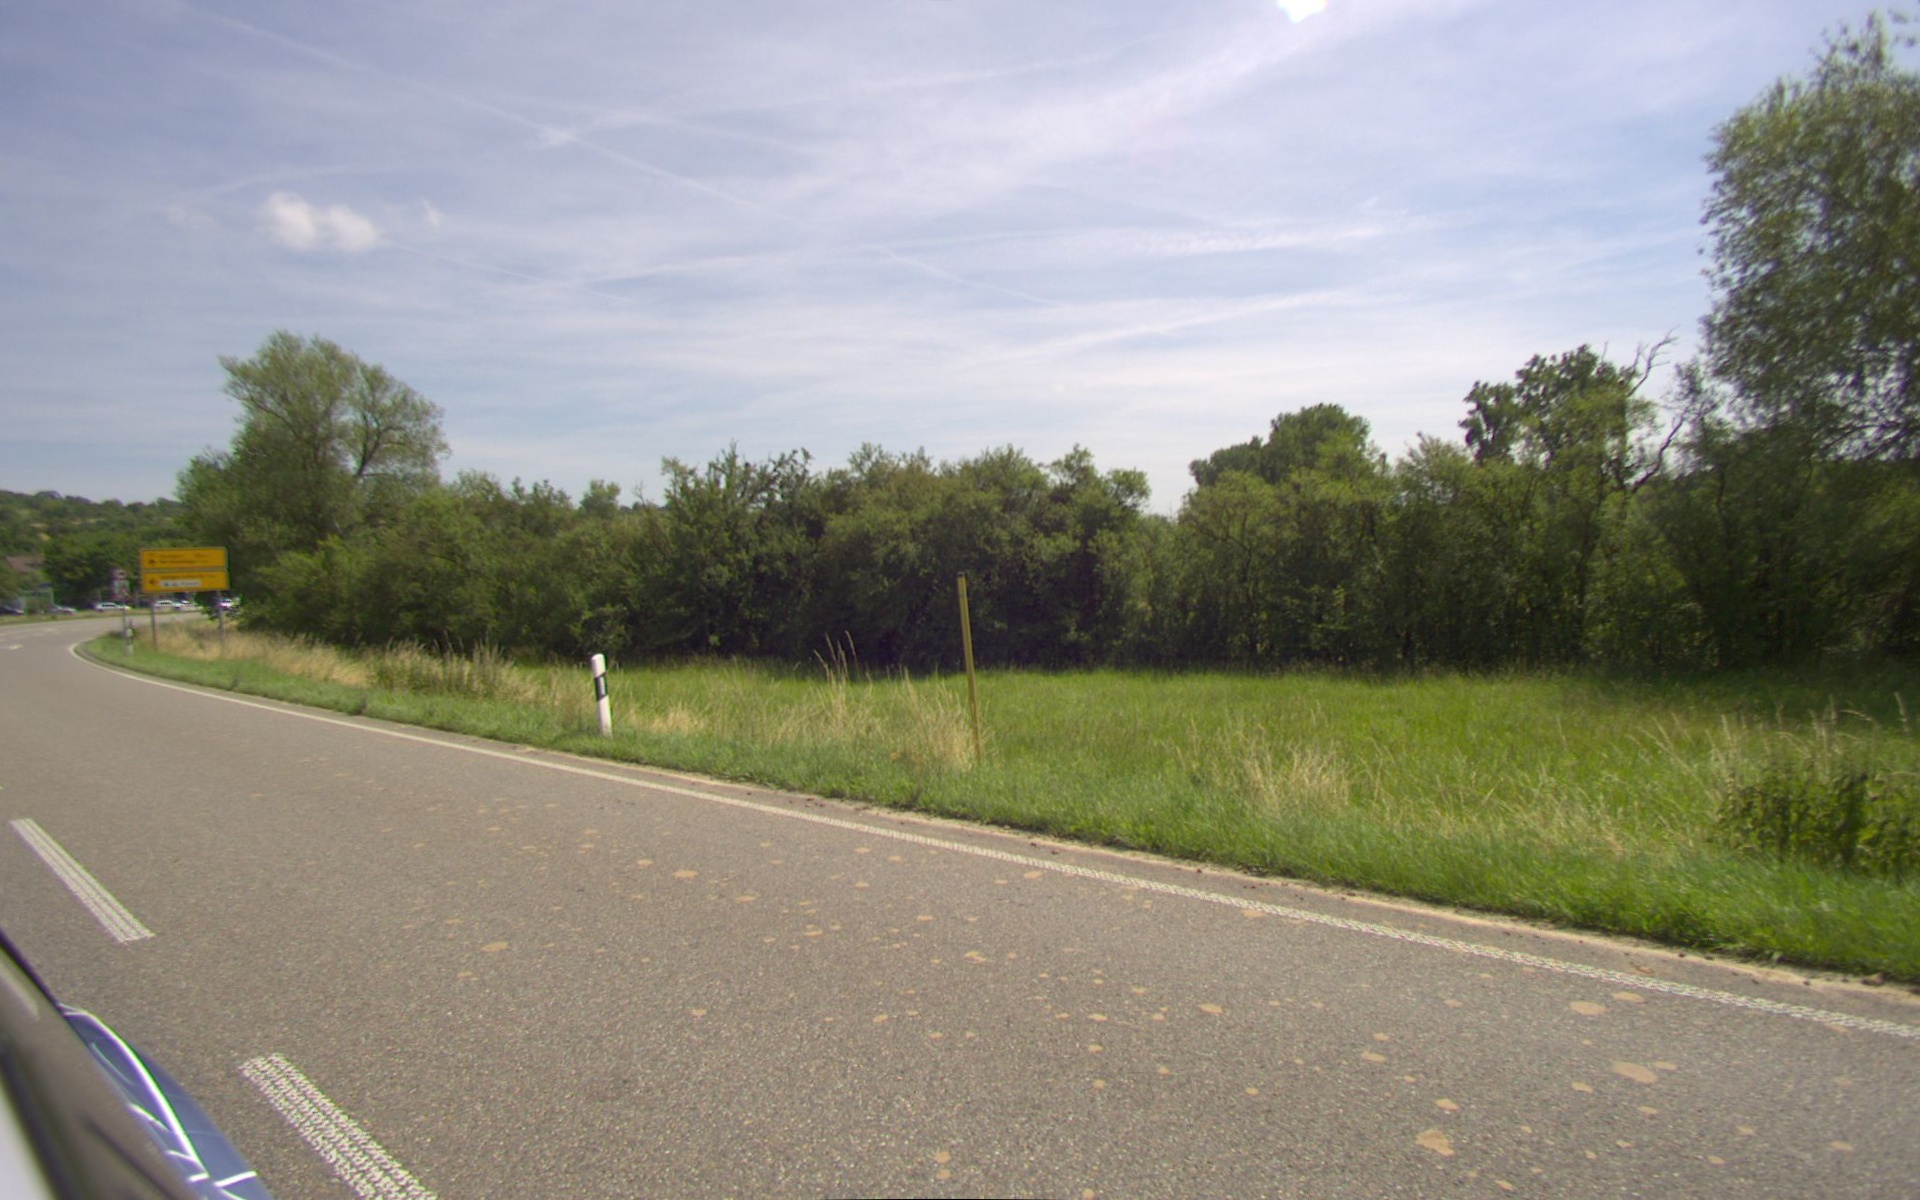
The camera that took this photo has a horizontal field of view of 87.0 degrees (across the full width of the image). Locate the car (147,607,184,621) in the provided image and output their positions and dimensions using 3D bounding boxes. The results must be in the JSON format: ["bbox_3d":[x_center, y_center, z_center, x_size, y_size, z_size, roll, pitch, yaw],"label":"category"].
[{"bbox_3d":[-117.958,2.083,150.255,3.931,2.029,1.894,0,0,-20],"label":"car"}]

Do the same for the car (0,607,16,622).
[{"bbox_3d":[-135.848,2.041,142.769,3.938,2.029,1.890,0,0,-42],"label":"car"}]

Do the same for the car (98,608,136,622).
[{"bbox_3d":[-123.365,2.155,148.127,3.931,2.029,1.894,0,0,-20],"label":"car"}]

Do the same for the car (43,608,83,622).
[{"bbox_3d":[-129.345,2.162,145.922,3.930,2.029,1.894,0,0,-23],"label":"car"}]
